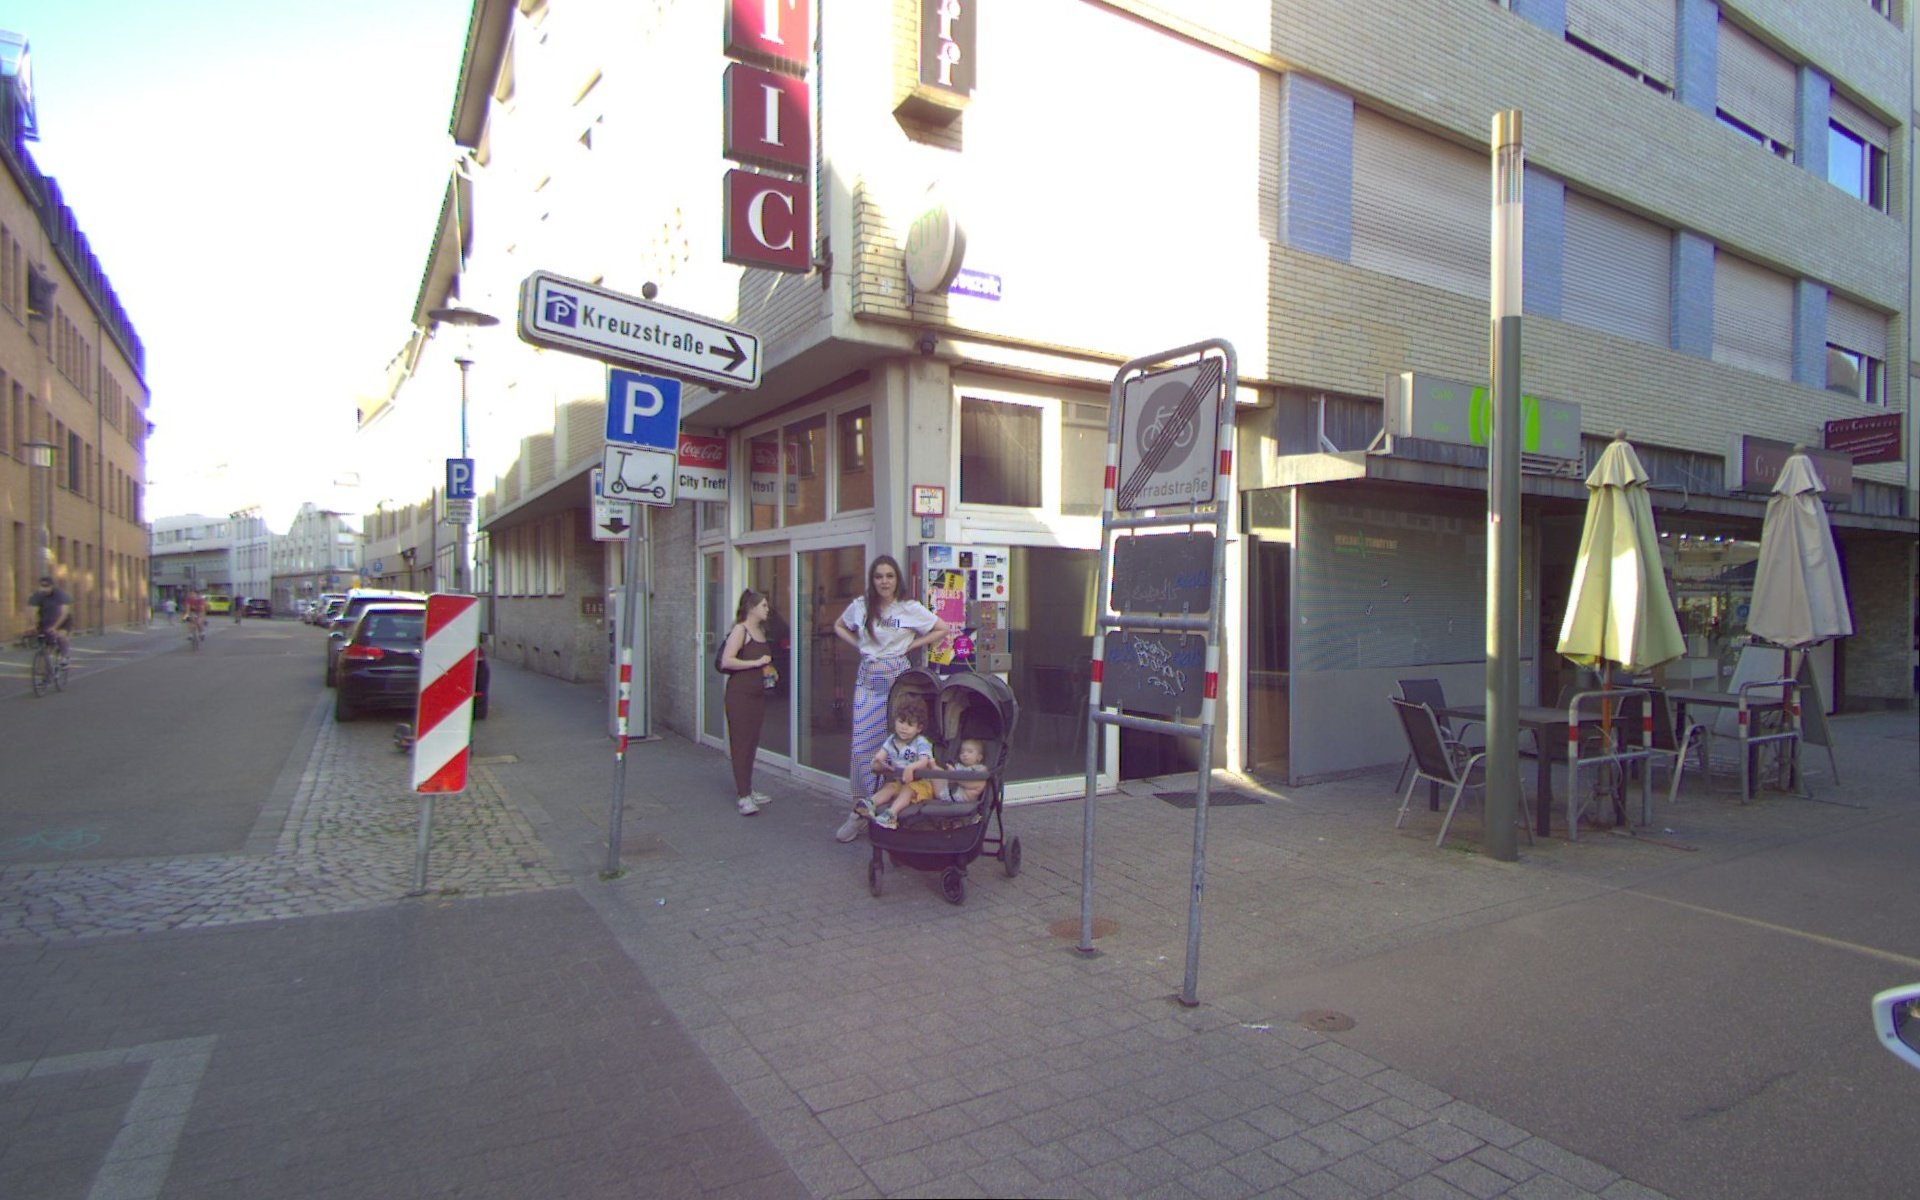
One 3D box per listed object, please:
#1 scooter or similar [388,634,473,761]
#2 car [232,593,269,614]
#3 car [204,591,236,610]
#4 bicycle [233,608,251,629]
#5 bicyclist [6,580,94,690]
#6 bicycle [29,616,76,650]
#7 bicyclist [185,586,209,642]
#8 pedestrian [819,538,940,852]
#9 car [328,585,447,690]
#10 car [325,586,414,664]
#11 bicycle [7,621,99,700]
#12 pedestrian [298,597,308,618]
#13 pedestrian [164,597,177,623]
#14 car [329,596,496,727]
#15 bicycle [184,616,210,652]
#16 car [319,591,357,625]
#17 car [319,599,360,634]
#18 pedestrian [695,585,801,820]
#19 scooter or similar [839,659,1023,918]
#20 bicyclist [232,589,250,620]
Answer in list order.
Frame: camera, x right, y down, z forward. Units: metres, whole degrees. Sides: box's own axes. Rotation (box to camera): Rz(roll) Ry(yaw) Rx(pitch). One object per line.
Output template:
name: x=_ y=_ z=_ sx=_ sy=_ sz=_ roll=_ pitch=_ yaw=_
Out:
scooter or similar: x=-5.213 y=0.945 z=9.885 sx=0.865 sy=1.199 sz=0.208 roll=0 pitch=0 yaw=19
car: x=-59.616 y=0.280 z=84.359 sx=3.785 sy=1.673 sz=1.923 roll=0 pitch=0 yaw=45
car: x=-70.695 y=0.043 z=95.906 sx=3.785 sy=1.673 sz=1.924 roll=1 pitch=-1 yaw=45
bicycle: x=-40.254 y=1.043 z=56.318 sx=0.698 sy=1.118 sz=1.810 roll=-4 pitch=2 yaw=-35
bicyclist: x=-13.798 y=0.503 z=15.264 sx=0.641 sy=1.579 sz=1.102 roll=-3 pitch=2 yaw=-27
bicycle: x=-26.404 y=0.944 z=29.264 sx=0.636 sy=0.893 sz=2.532 roll=2 pitch=-1 yaw=-34
bicyclist: x=-21.261 y=0.390 z=27.988 sx=0.424 sy=1.518 sz=0.867 roll=-2 pitch=1 yaw=-34
pedestrian: x=-0.483 y=0.563 z=6.251 sx=0.647 sy=1.844 sz=0.570 roll=-2 pitch=1 yaw=-2
car: x=-10.466 y=0.651 z=18.313 sx=1.655 sy=1.683 sz=4.046 roll=3 pitch=-2 yaw=-31
car: x=-14.367 y=0.591 z=24.426 sx=1.655 sy=1.727 sz=3.978 roll=3 pitch=-2 yaw=-31
bicycle: x=-13.812 y=0.884 z=15.345 sx=0.567 sy=1.065 sz=1.822 roll=-3 pitch=2 yaw=-28
pedestrian: x=-46.195 y=0.542 z=70.648 sx=0.567 sy=1.499 sz=0.468 roll=0 pitch=0 yaw=-39
pedestrian: x=-47.803 y=0.597 z=60.827 sx=0.537 sy=1.565 sz=0.401 roll=1 pitch=0 yaw=-33
car: x=-7.569 y=0.751 z=13.785 sx=1.721 sy=1.505 sz=3.779 roll=3 pitch=-1 yaw=-31
bicycle: x=-21.264 y=0.933 z=28.000 sx=0.431 sy=0.970 sz=1.577 roll=0 pitch=0 yaw=-32
car: x=-35.522 y=0.456 z=57.353 sx=1.676 sy=1.798 sz=3.622 roll=3 pitch=-2 yaw=-33
car: x=-32.434 y=0.842 z=52.480 sx=1.676 sy=1.701 sz=3.475 roll=3 pitch=-2 yaw=-33
pedestrian: x=-1.535 y=0.708 z=7.269 sx=0.529 sy=1.601 sz=0.505 roll=-3 pitch=1 yaw=-37
scooter or similar: x=-0.117 y=0.934 z=5.336 sx=0.783 sy=1.159 sz=0.954 roll=0 pitch=1 yaw=11
bicyclist: x=-40.261 y=0.248 z=56.258 sx=0.765 sy=1.678 sz=0.948 roll=-3 pitch=2 yaw=-35
